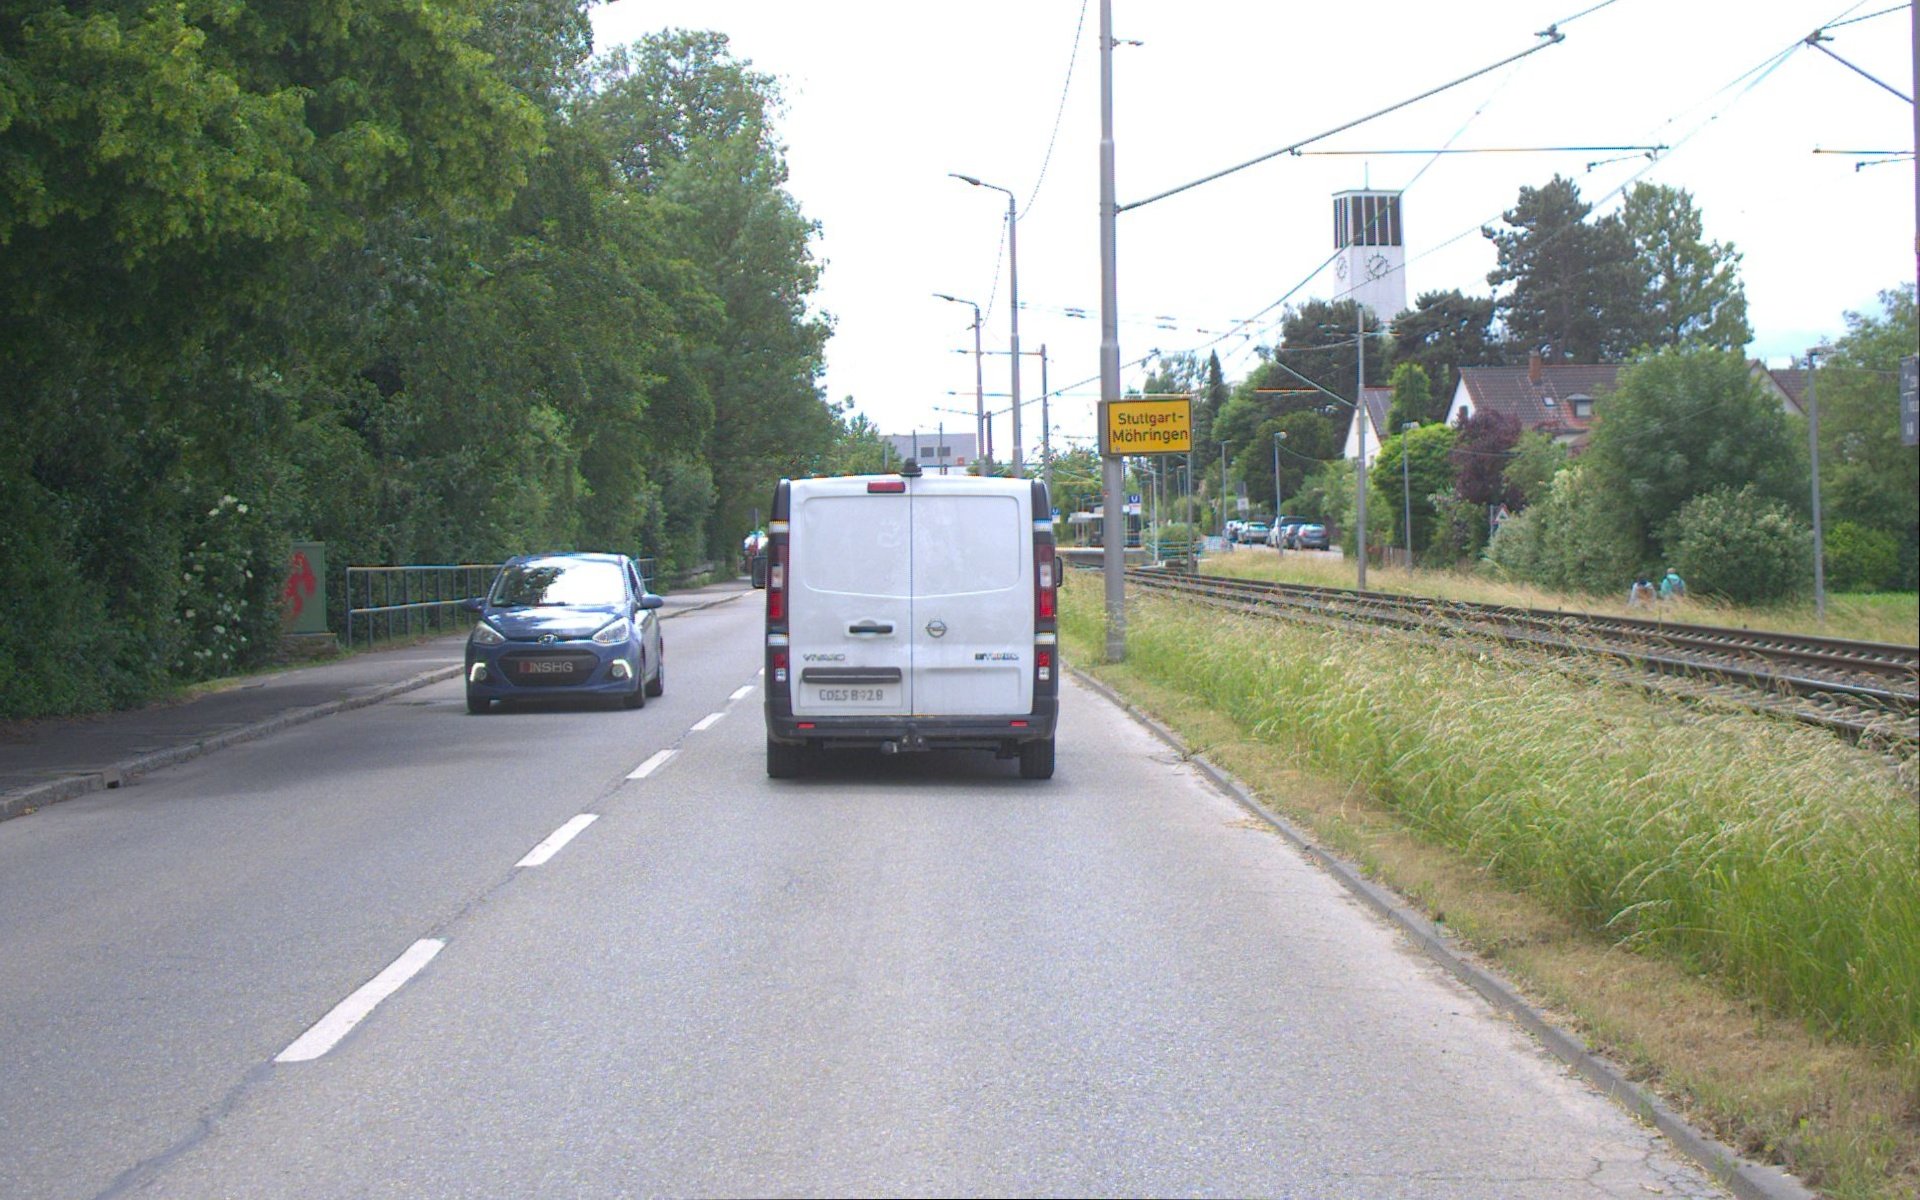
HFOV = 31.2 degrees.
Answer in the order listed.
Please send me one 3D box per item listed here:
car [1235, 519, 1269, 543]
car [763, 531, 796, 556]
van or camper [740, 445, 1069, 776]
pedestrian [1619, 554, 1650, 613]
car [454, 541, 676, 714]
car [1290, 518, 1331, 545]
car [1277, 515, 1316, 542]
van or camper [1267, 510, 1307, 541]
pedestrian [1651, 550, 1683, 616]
[{"bbox_3d":[19.447,-4.609,229.220,1.883,1.517,4.000,-1,1,0],"label":"car"},{"bbox_3d":[-11.506,-3.600,218.768,1.736,1.499,4.479,-3,2,-7],"label":"car"},{"bbox_3d":[-0.357,0.035,23.158,1.993,2.007,4.446,0,1,-1],"label":"van or camper"},{"bbox_3d":[16.518,-0.397,84.243,0.598,1.426,0.666,1,1,0],"label":"pedestrian"},{"bbox_3d":[-3.812,0.231,33.751,1.706,1.523,3.825,-3,1,0],"label":"car"},{"bbox_3d":[20.029,-3.934,196.649,1.883,1.517,4.000,-1,1,0],"label":"car"},{"bbox_3d":[19.832,-4.224,202.793,1.883,1.517,4.000,-1,1,0],"label":"car"},{"bbox_3d":[19.745,-4.482,207.470,1.905,1.819,5.048,-1,1,0],"label":"van or camper"},{"bbox_3d":[17.315,-0.423,84.191,0.616,1.616,0.584,1,1,0],"label":"pedestrian"}]
